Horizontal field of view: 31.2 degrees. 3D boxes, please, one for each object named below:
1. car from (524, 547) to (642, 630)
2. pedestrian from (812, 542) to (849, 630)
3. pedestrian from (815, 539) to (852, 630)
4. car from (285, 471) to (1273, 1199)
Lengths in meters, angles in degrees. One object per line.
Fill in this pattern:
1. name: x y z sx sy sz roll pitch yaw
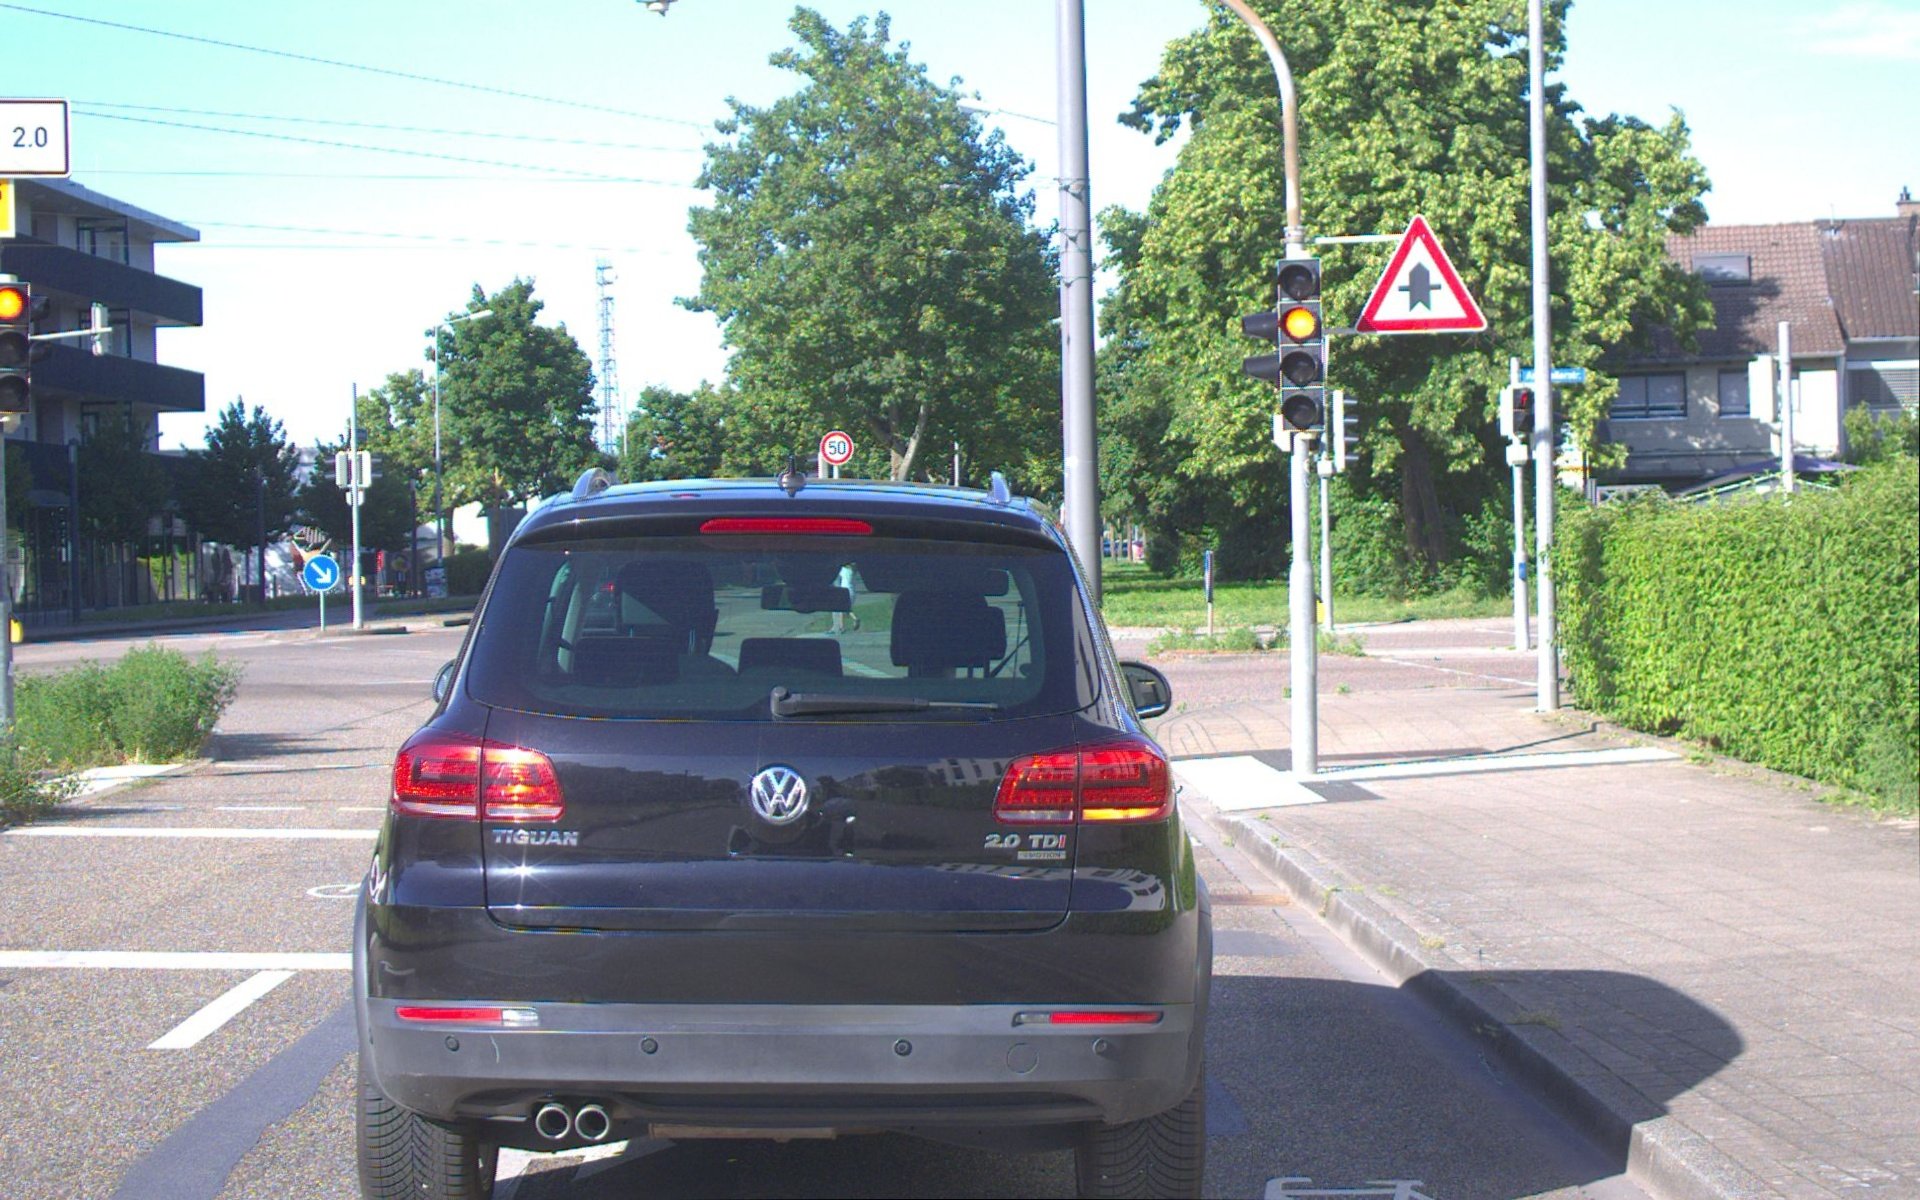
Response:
1. car: -6.559 -0.229 60.124 1.751 1.382 4.001 0 1 -2
2. pedestrian: -2.310 -0.245 61.368 0.603 1.559 0.529 0 1 4
3. pedestrian: -2.280 -0.287 61.873 0.603 1.634 0.529 0 1 4
4. car: -0.416 0.529 8.652 1.905 1.637 4.001 0 1 -2
